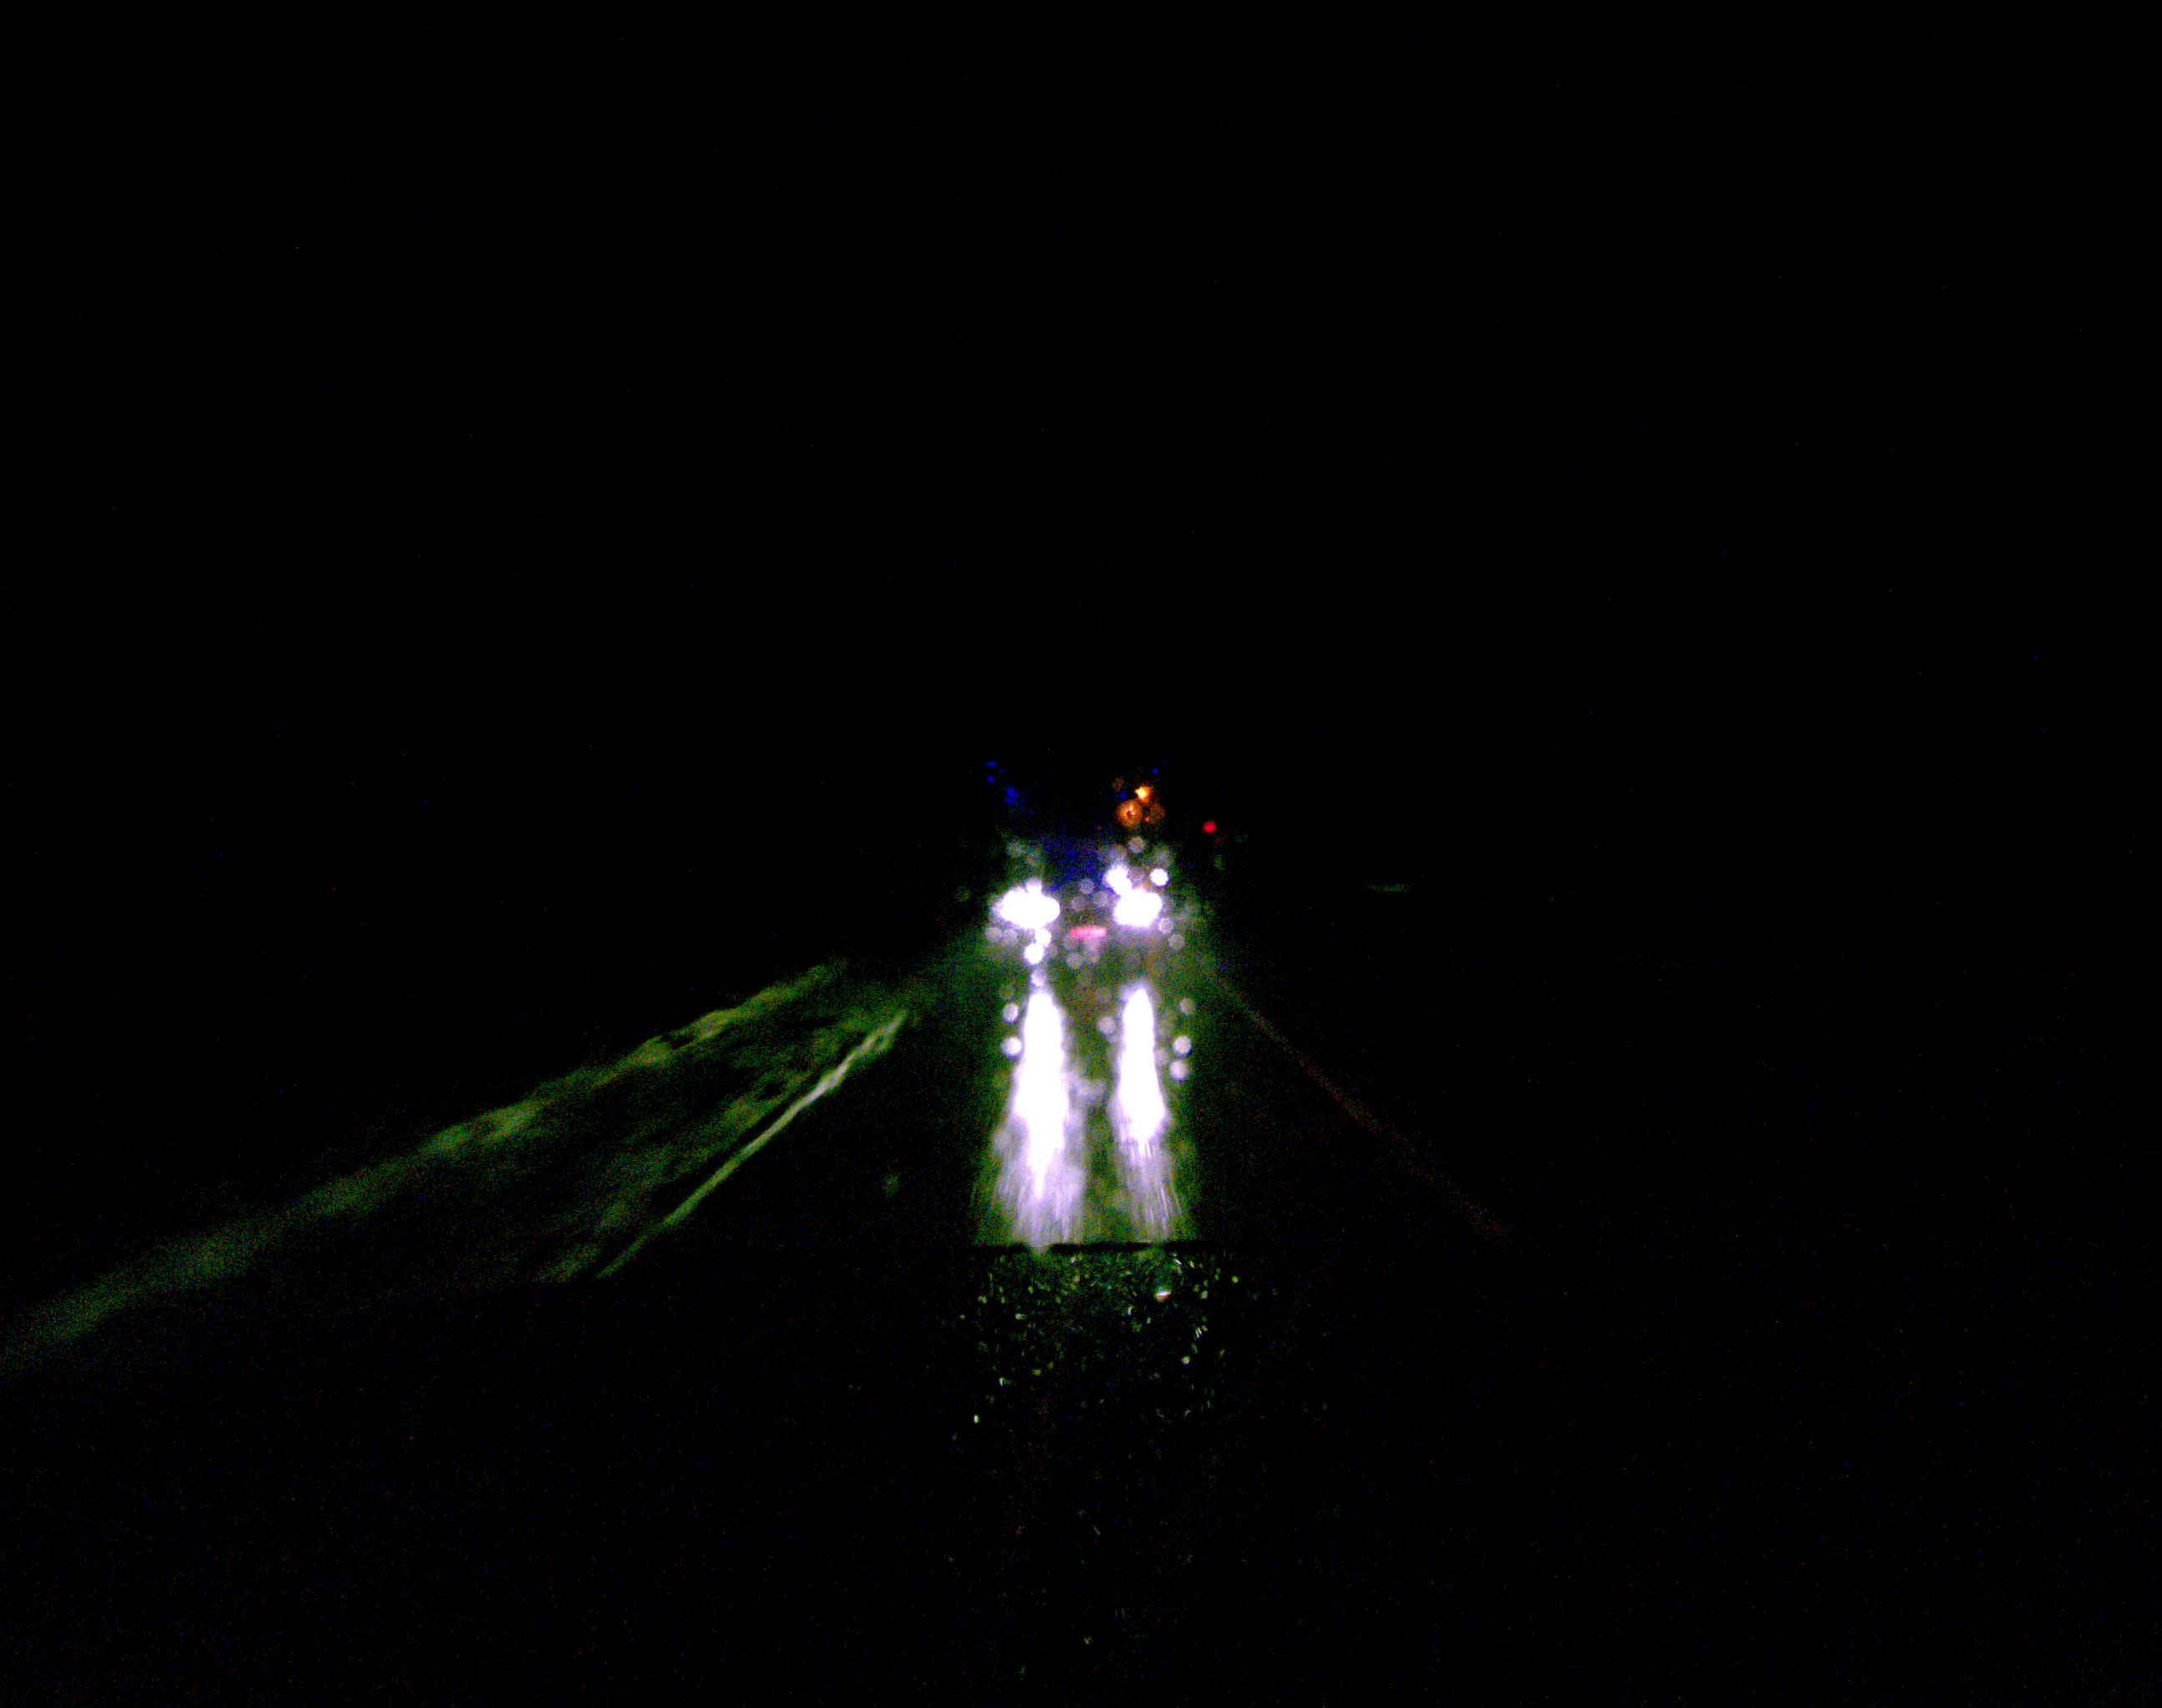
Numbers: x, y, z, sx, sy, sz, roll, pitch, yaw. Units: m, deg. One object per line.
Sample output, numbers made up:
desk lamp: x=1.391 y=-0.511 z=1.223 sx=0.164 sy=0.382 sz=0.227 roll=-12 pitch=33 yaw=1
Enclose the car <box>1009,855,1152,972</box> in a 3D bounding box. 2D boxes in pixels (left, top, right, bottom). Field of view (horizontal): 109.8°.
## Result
car: x=0.063 y=0.820 z=12.836 sx=1.944 sy=1.580 sz=4.775 roll=-1 pitch=0 yaw=2
